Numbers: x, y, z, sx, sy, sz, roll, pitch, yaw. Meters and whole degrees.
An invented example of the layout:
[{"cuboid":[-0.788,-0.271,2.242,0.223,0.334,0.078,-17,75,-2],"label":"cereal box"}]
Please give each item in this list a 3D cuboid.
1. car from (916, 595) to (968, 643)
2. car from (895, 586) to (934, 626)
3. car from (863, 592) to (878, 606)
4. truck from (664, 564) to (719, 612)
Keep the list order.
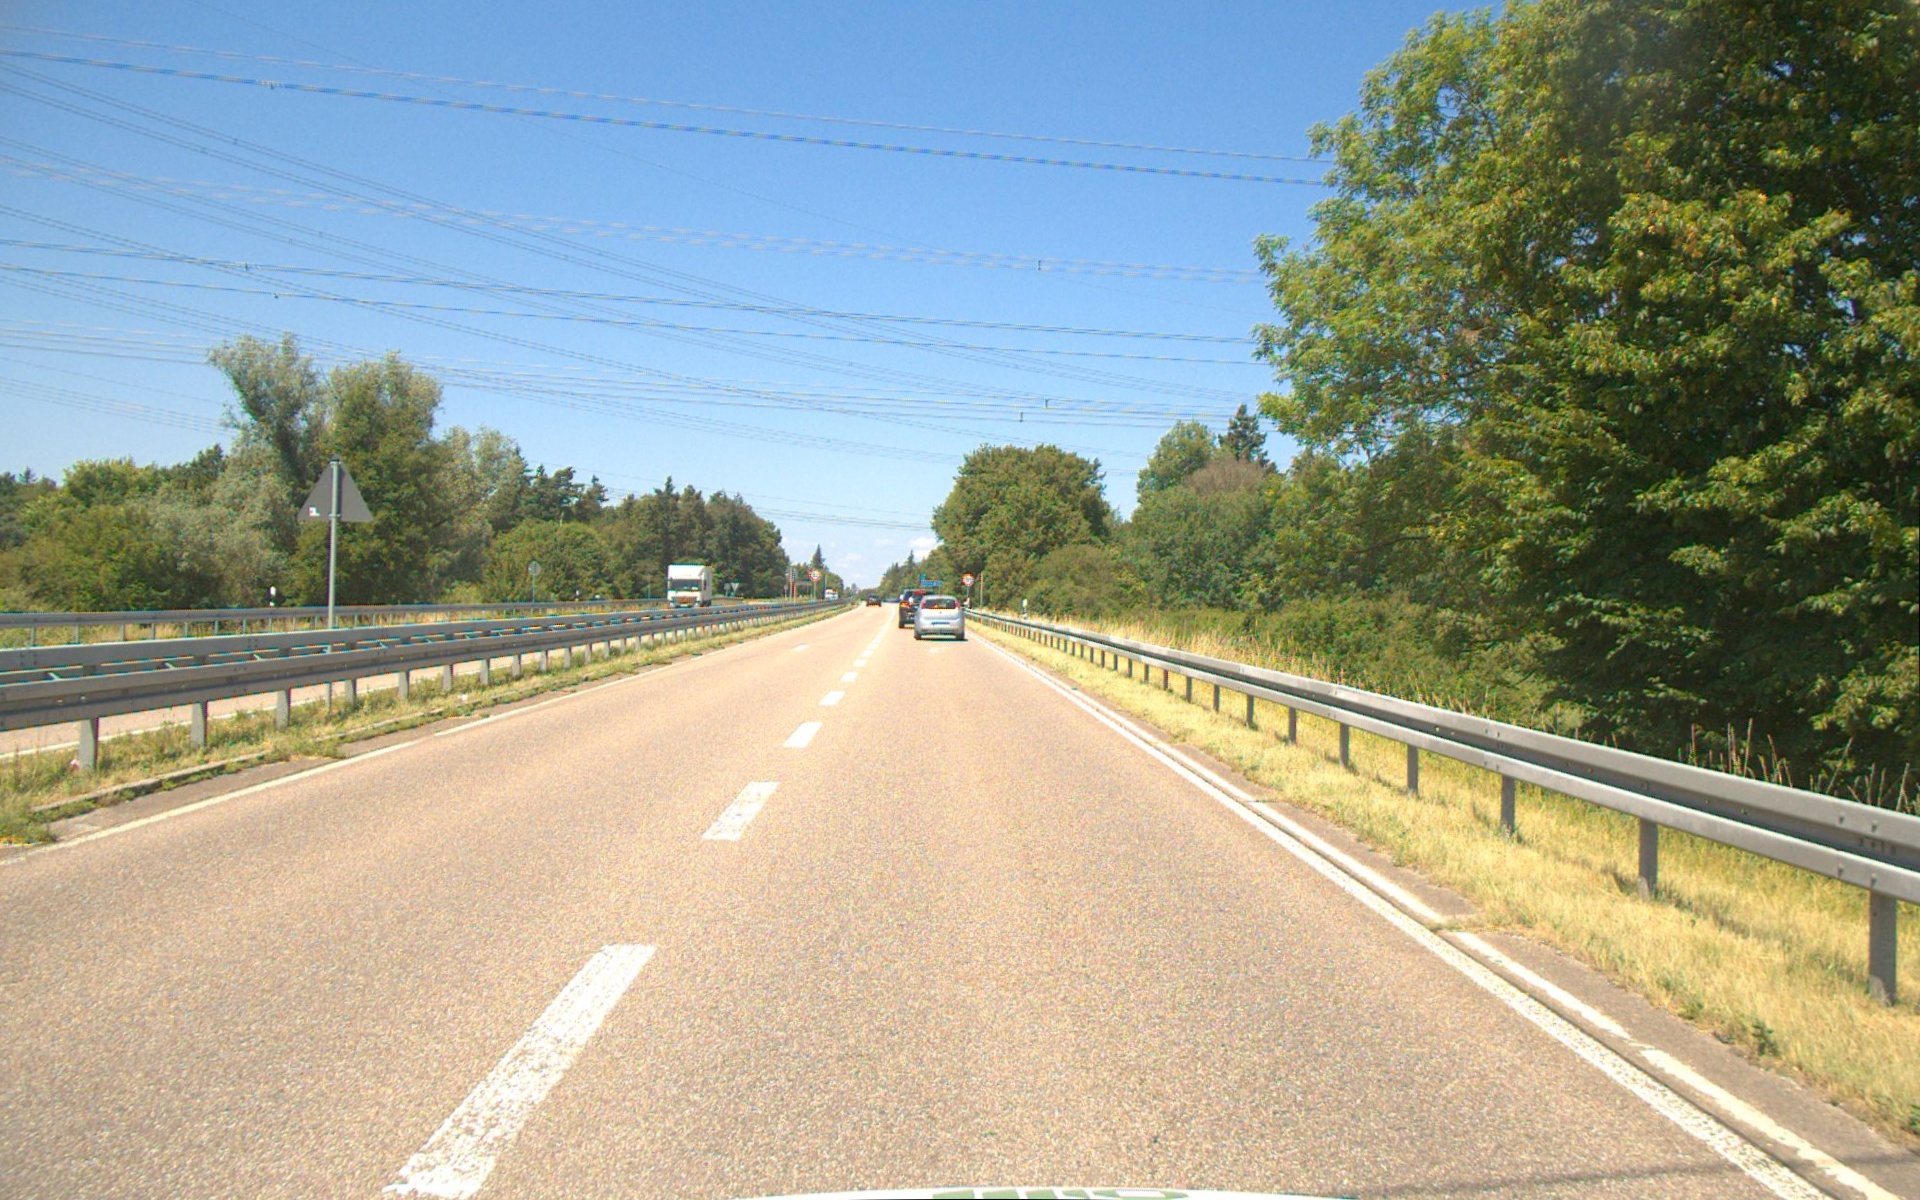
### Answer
[{"cuboid":[-0.625,0.621,55.946,1.607,1.493,3.417,3,0,-2],"label":"car"},{"cuboid":[-2.095,0.258,75.344,1.608,1.682,3.572,3,0,-3],"label":"car"},{"cuboid":[-10.719,-0.092,197.347,1.678,1.497,3.572,3,0,-3],"label":"car"},{"cuboid":[-18.621,-0.808,115.004,2.663,3.249,8.402,1,0,-2],"label":"truck"}]
